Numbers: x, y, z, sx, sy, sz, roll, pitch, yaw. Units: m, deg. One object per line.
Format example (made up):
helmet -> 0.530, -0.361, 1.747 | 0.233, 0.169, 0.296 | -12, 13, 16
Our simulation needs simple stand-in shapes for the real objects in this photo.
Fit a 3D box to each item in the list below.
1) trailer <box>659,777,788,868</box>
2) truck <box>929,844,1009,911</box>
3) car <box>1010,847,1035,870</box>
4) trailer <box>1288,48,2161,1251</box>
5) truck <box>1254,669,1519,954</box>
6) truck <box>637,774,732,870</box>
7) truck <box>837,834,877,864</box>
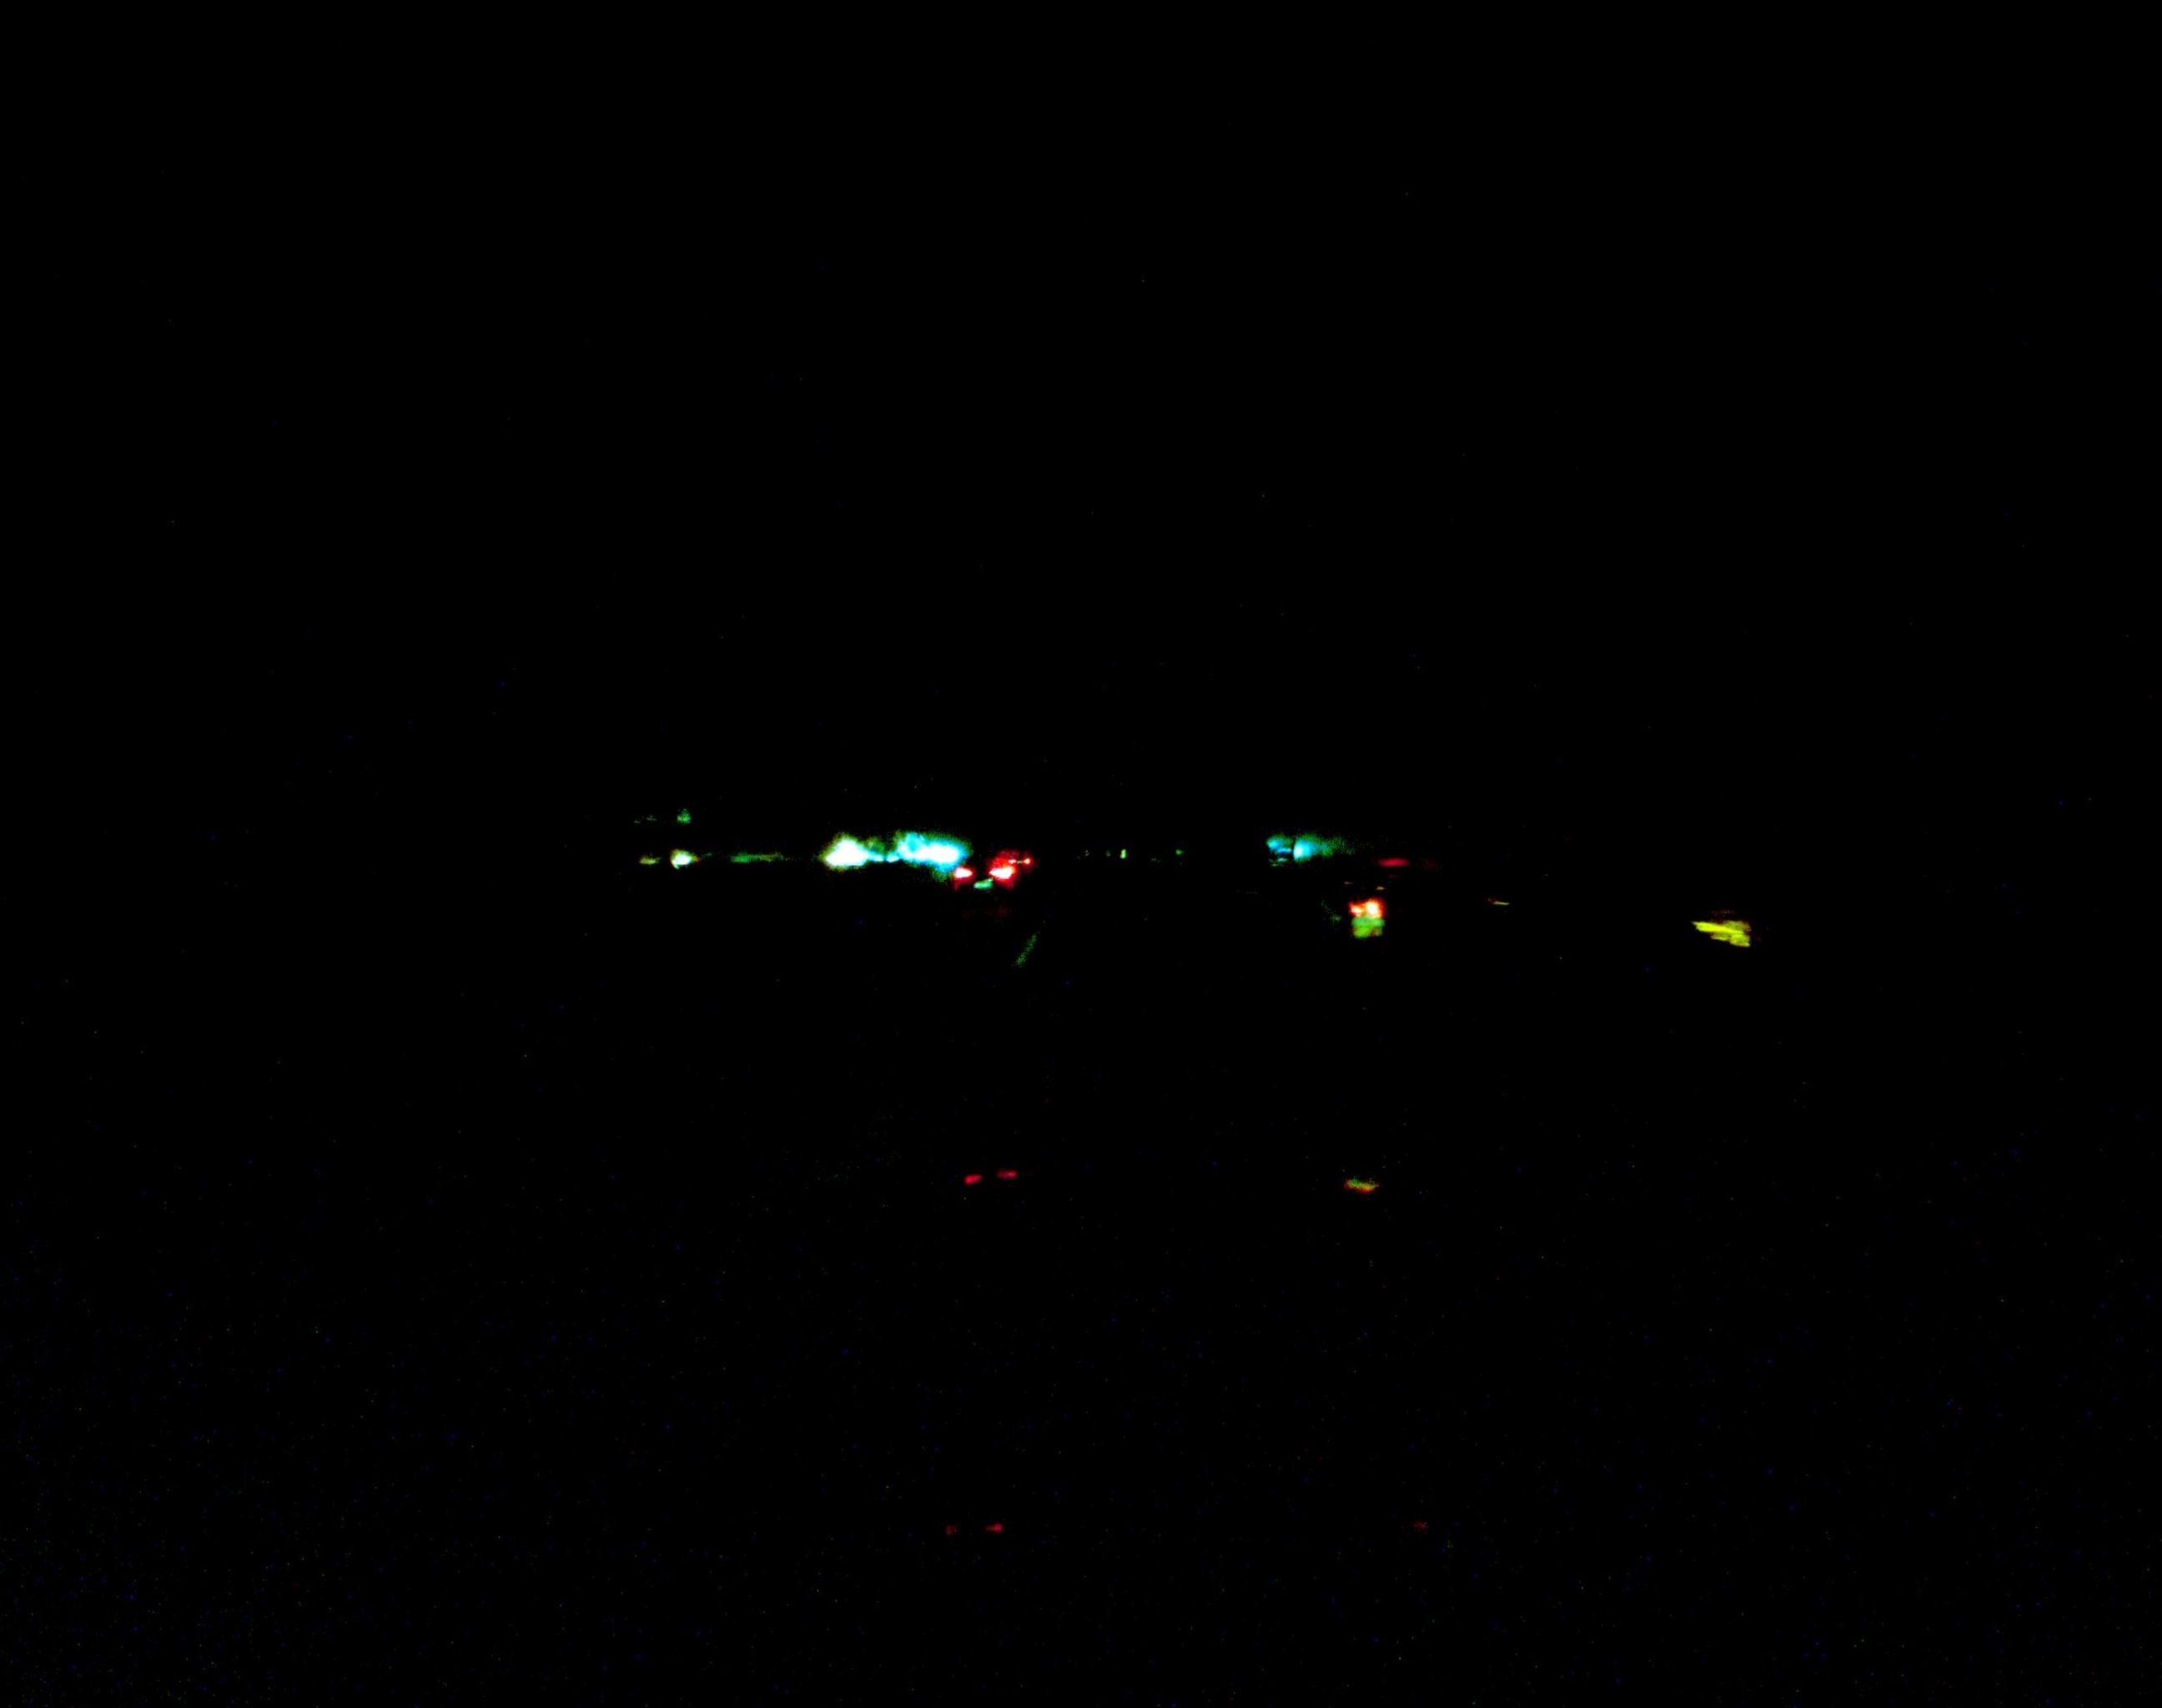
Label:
trailer -> -23.385, -2.034, 54.633 | 2.766, 5.090, 14.917 | 3, 1, -4
truck -> -3.870, 0.712, 29.424 | 2.139, 2.077, 6.600 | 0, 1, -2
car -> -5.768, 0.430, 80.655 | 1.986, 2.013, 4.001 | 3, 1, 1
trailer -> 5.163, -0.680, 8.203 | 2.730, 4.248, 13.368 | 1, 0, 0
truck -> 5.247, -0.678, 15.110 | 2.703, 4.241, 5.290 | -3, 0, -1
truck -> -22.909, -1.816, 47.432 | 2.747, 5.097, 5.875 | 3, 1, -4
truck -> -21.316, -0.466, 77.656 | 2.280, 2.672, 6.115 | 3, 0, -3
